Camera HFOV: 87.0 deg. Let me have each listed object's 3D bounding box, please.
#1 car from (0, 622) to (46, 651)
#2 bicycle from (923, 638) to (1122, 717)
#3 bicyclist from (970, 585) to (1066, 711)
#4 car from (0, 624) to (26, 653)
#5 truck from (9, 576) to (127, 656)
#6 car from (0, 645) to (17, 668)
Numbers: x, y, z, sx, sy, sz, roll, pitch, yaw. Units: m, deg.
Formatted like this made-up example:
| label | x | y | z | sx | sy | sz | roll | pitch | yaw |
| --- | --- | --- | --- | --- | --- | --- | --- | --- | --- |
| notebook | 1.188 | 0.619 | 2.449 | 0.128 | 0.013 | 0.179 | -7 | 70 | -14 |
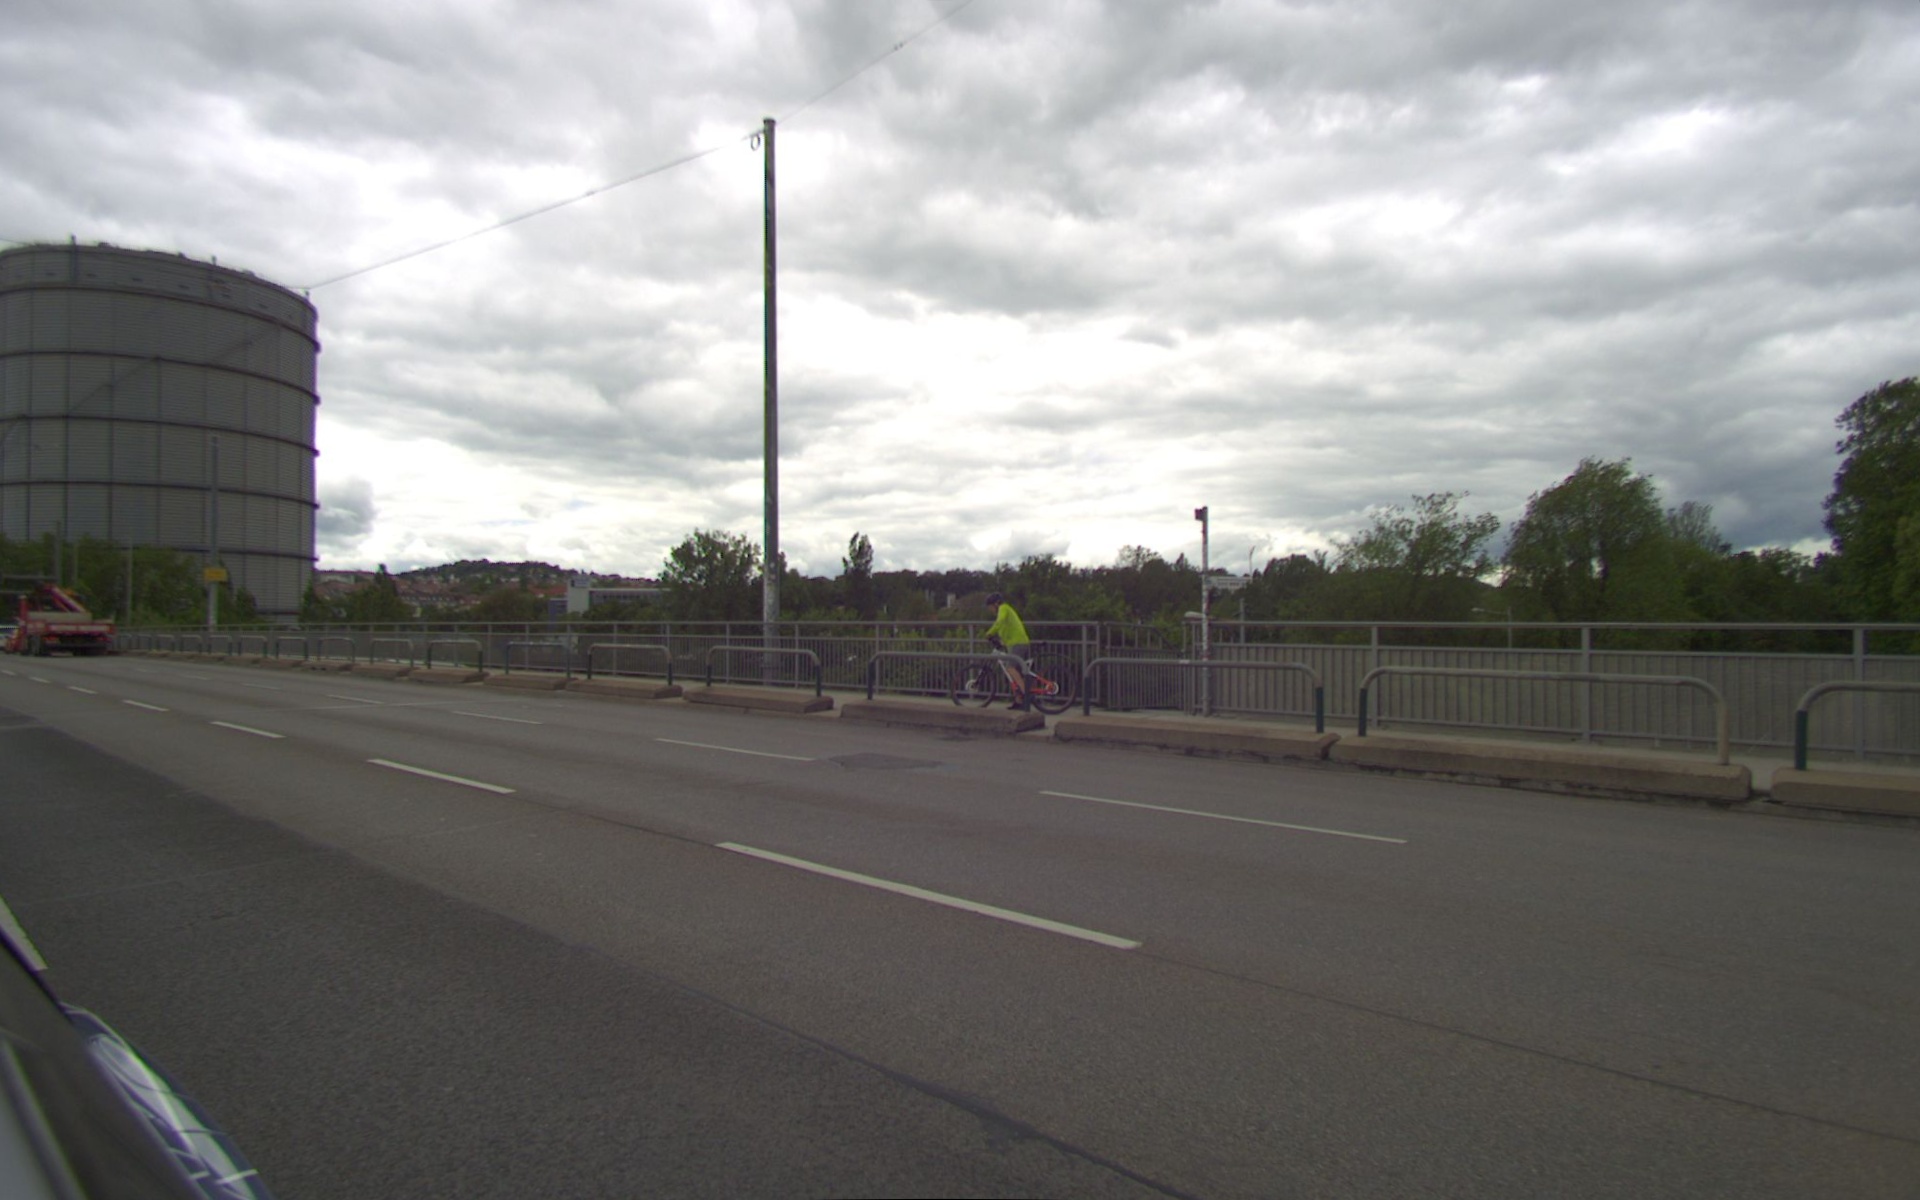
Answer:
| label | x | y | z | sx | sy | sz | roll | pitch | yaw |
| --- | --- | --- | --- | --- | --- | --- | --- | --- | --- |
| car | -53.556 | 2.101 | 57.498 | 4.013 | 1.615 | 1.860 | -2 | -4 | 41 |
| bicycle | 0.889 | 1.101 | 14.835 | 2.786 | 1.059 | 0.912 | -1 | -2 | 28 |
| bicyclist | 0.856 | 0.691 | 14.865 | 1.130 | 1.778 | 0.897 | -1 | -2 | 27 |
| car | -59.658 | 2.402 | 62.841 | 4.799 | 1.775 | 1.860 | -2 | -4 | 41 |
| truck | -44.077 | 0.919 | 49.866 | 9.976 | 3.593 | 2.974 | -2 | -4 | 41 |
| car | -64.851 | 3.770 | 67.879 | 4.514 | 1.516 | 1.816 | -2 | -4 | 41 |
